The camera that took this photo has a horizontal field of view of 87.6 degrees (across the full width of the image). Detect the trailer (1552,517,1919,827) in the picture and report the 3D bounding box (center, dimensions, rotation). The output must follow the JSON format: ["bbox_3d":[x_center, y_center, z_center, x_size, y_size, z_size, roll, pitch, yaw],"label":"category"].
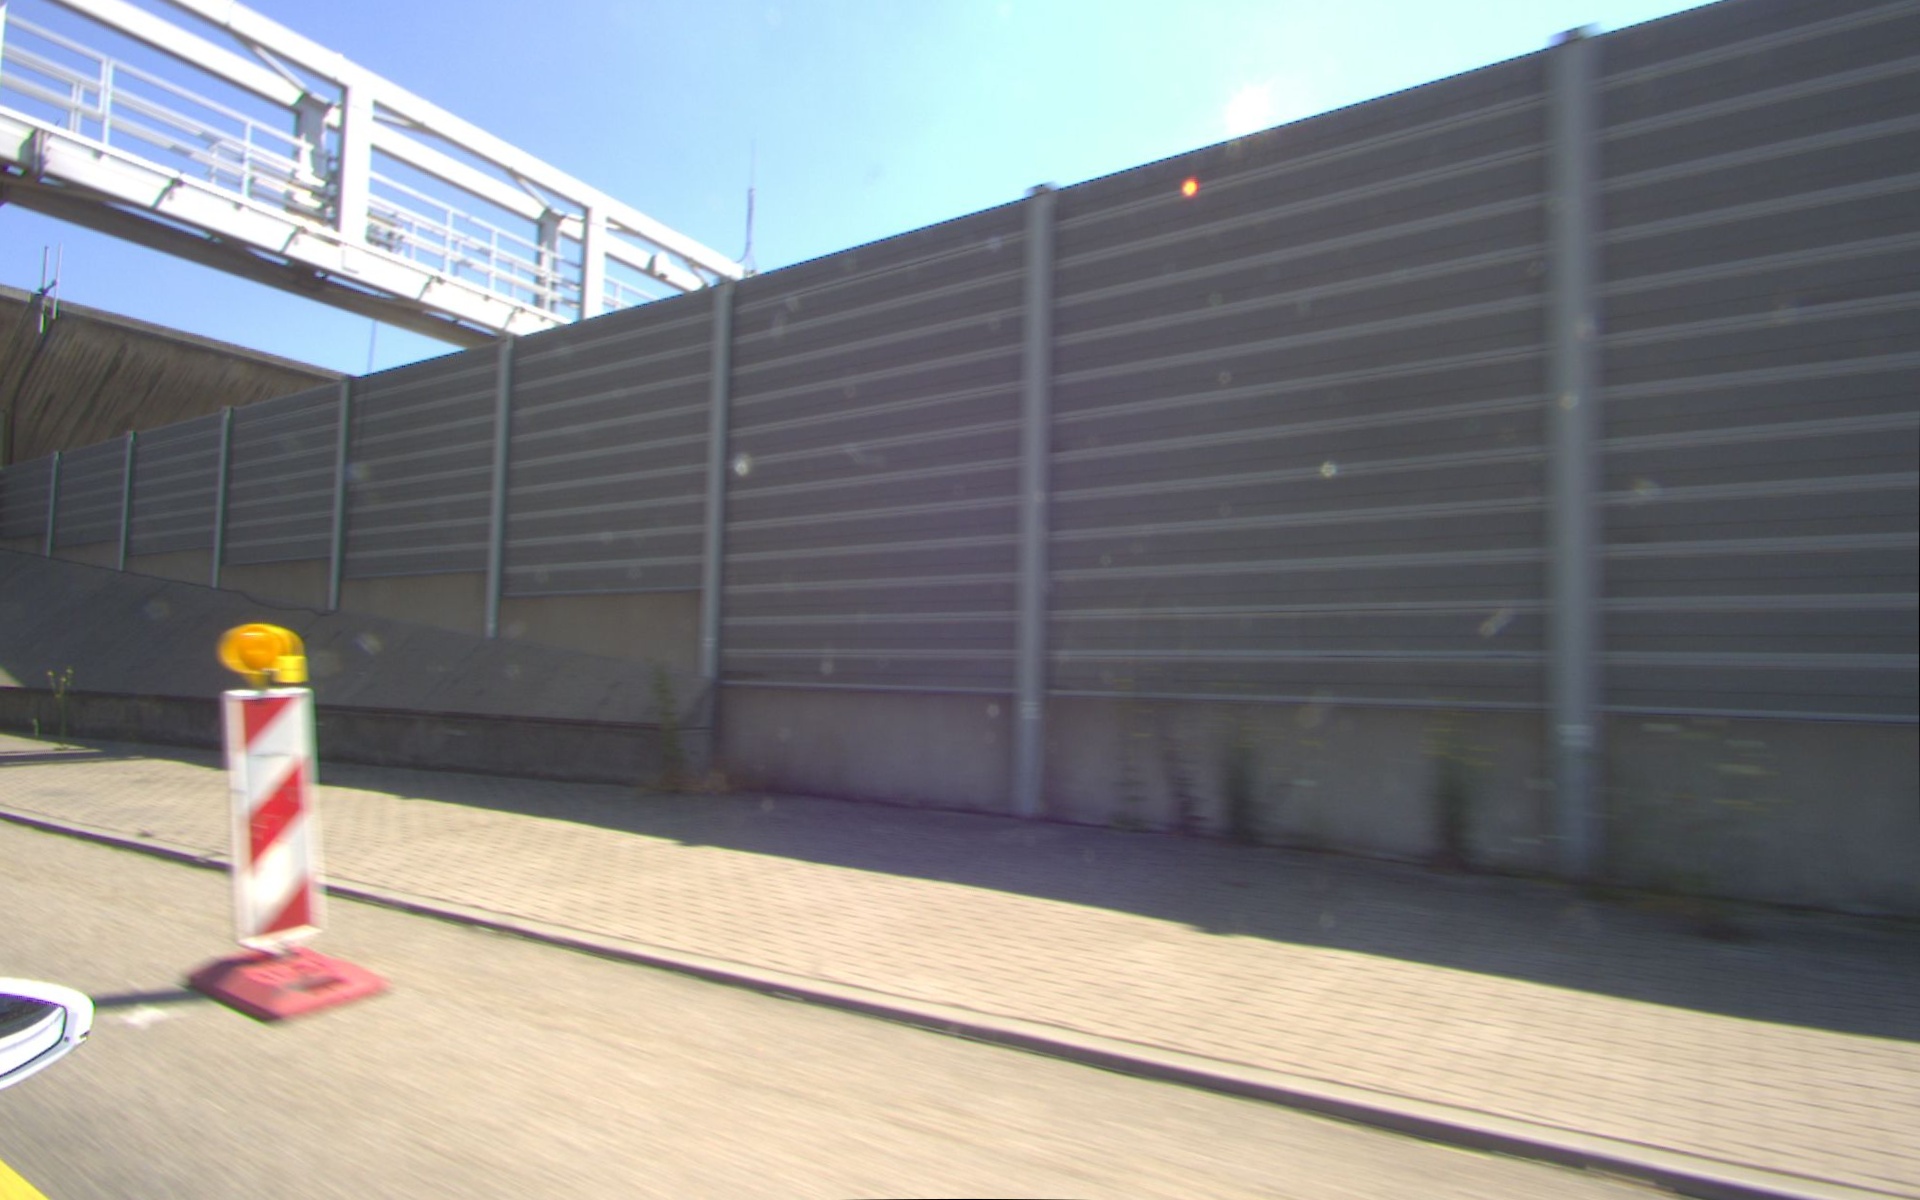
[{"bbox_3d":[15.590,1.017,12.737,13.648,3.997,2.544,-1,-6,27],"label":"trailer"}]
